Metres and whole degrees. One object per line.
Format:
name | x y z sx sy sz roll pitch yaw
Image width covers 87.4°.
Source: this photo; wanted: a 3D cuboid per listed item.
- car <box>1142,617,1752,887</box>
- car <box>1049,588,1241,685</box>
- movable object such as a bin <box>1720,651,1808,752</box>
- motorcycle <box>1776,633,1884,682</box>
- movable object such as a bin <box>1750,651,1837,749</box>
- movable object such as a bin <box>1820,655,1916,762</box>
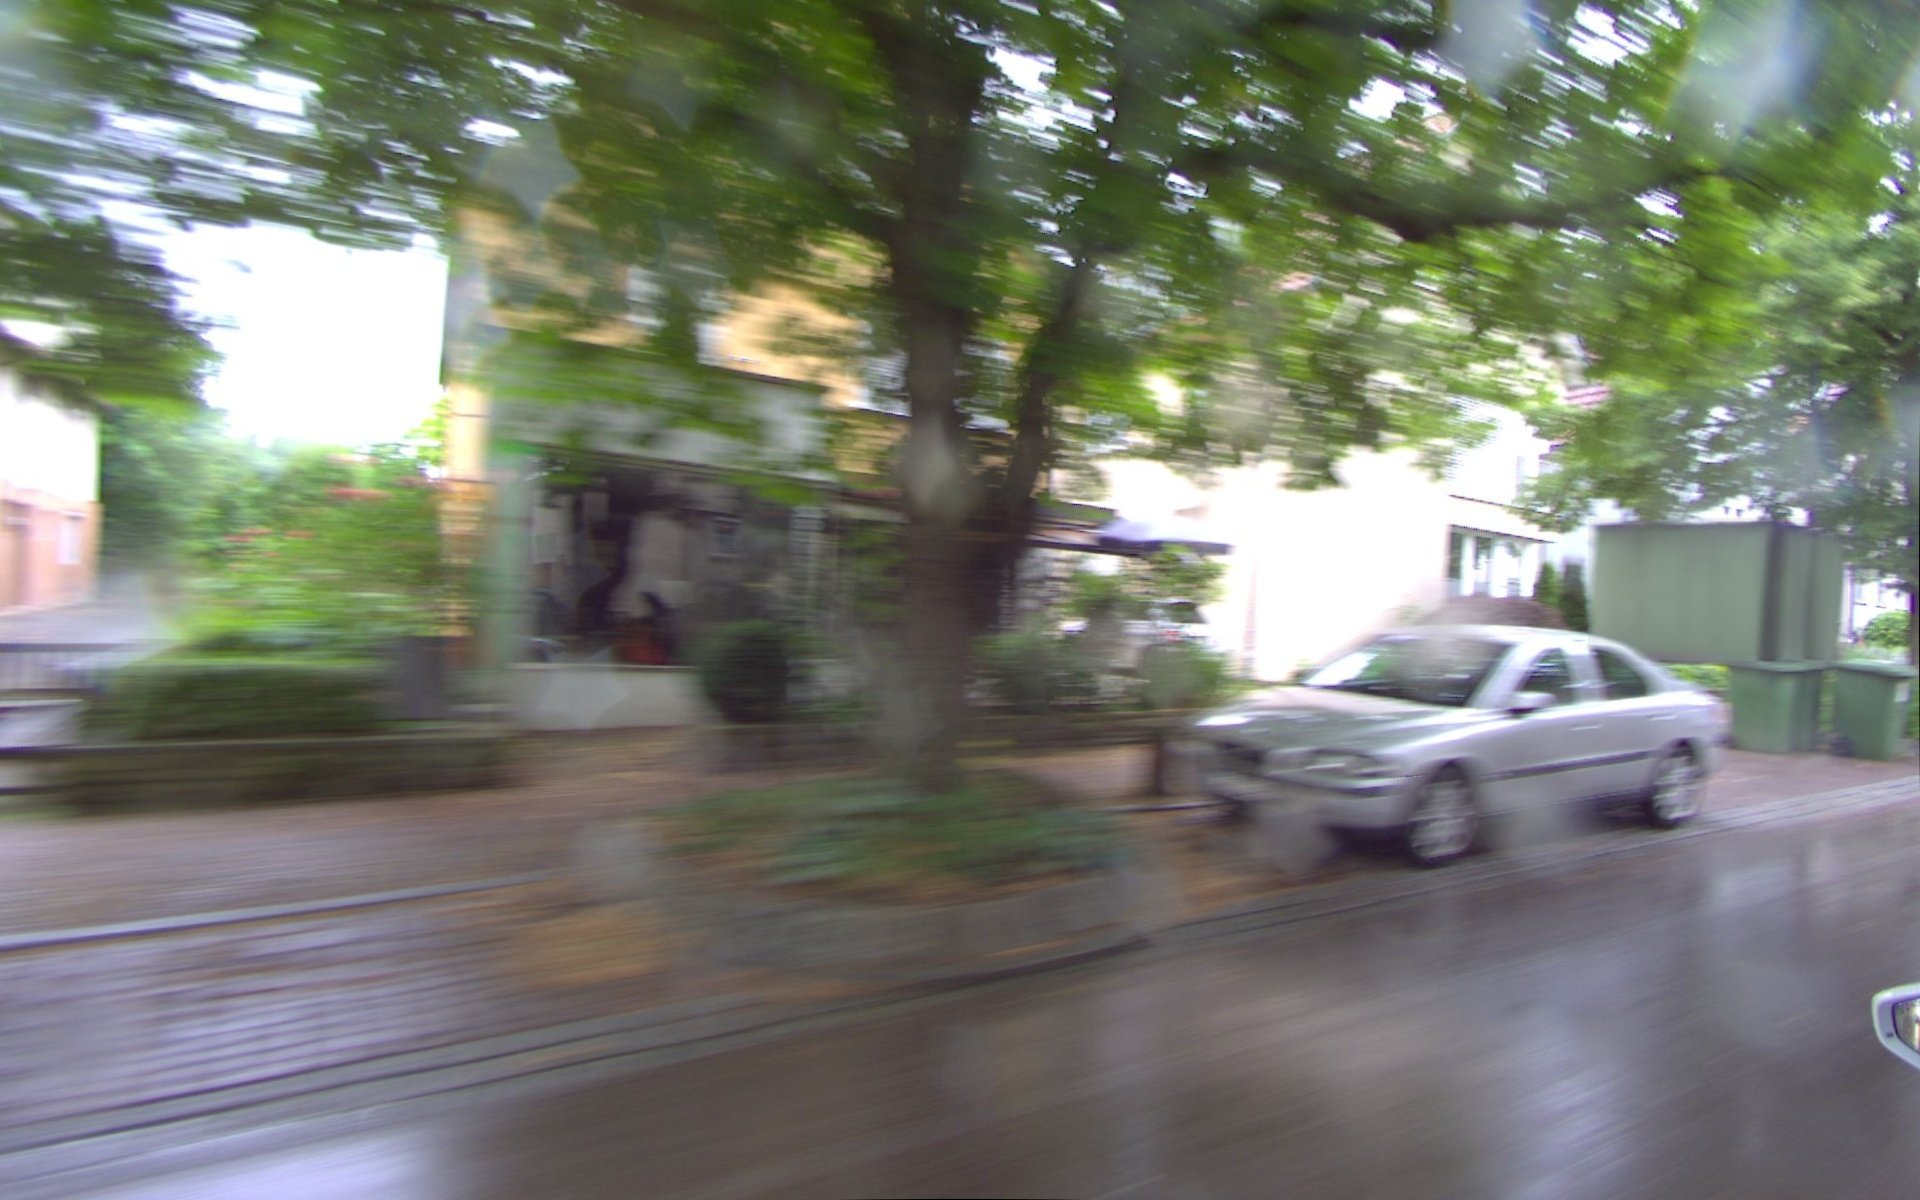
car | 3.664 0.882 7.367 4.490 1.407 1.764 1 1 -29
car | 3.403 0.620 19.069 1.618 1.497 3.552 1 3 -30
movable object such as a bin | 9.231 1.149 11.538 0.538 1.077 0.593 1 1 -26
motorcycle | 22.890 1.493 26.465 0.808 1.177 1.973 1 0 -29
movable object such as a bin | 9.787 1.161 11.806 0.538 1.077 0.593 1 1 -26
movable object such as a bin | 10.042 1.181 11.119 0.538 1.077 0.593 1 3 -26
